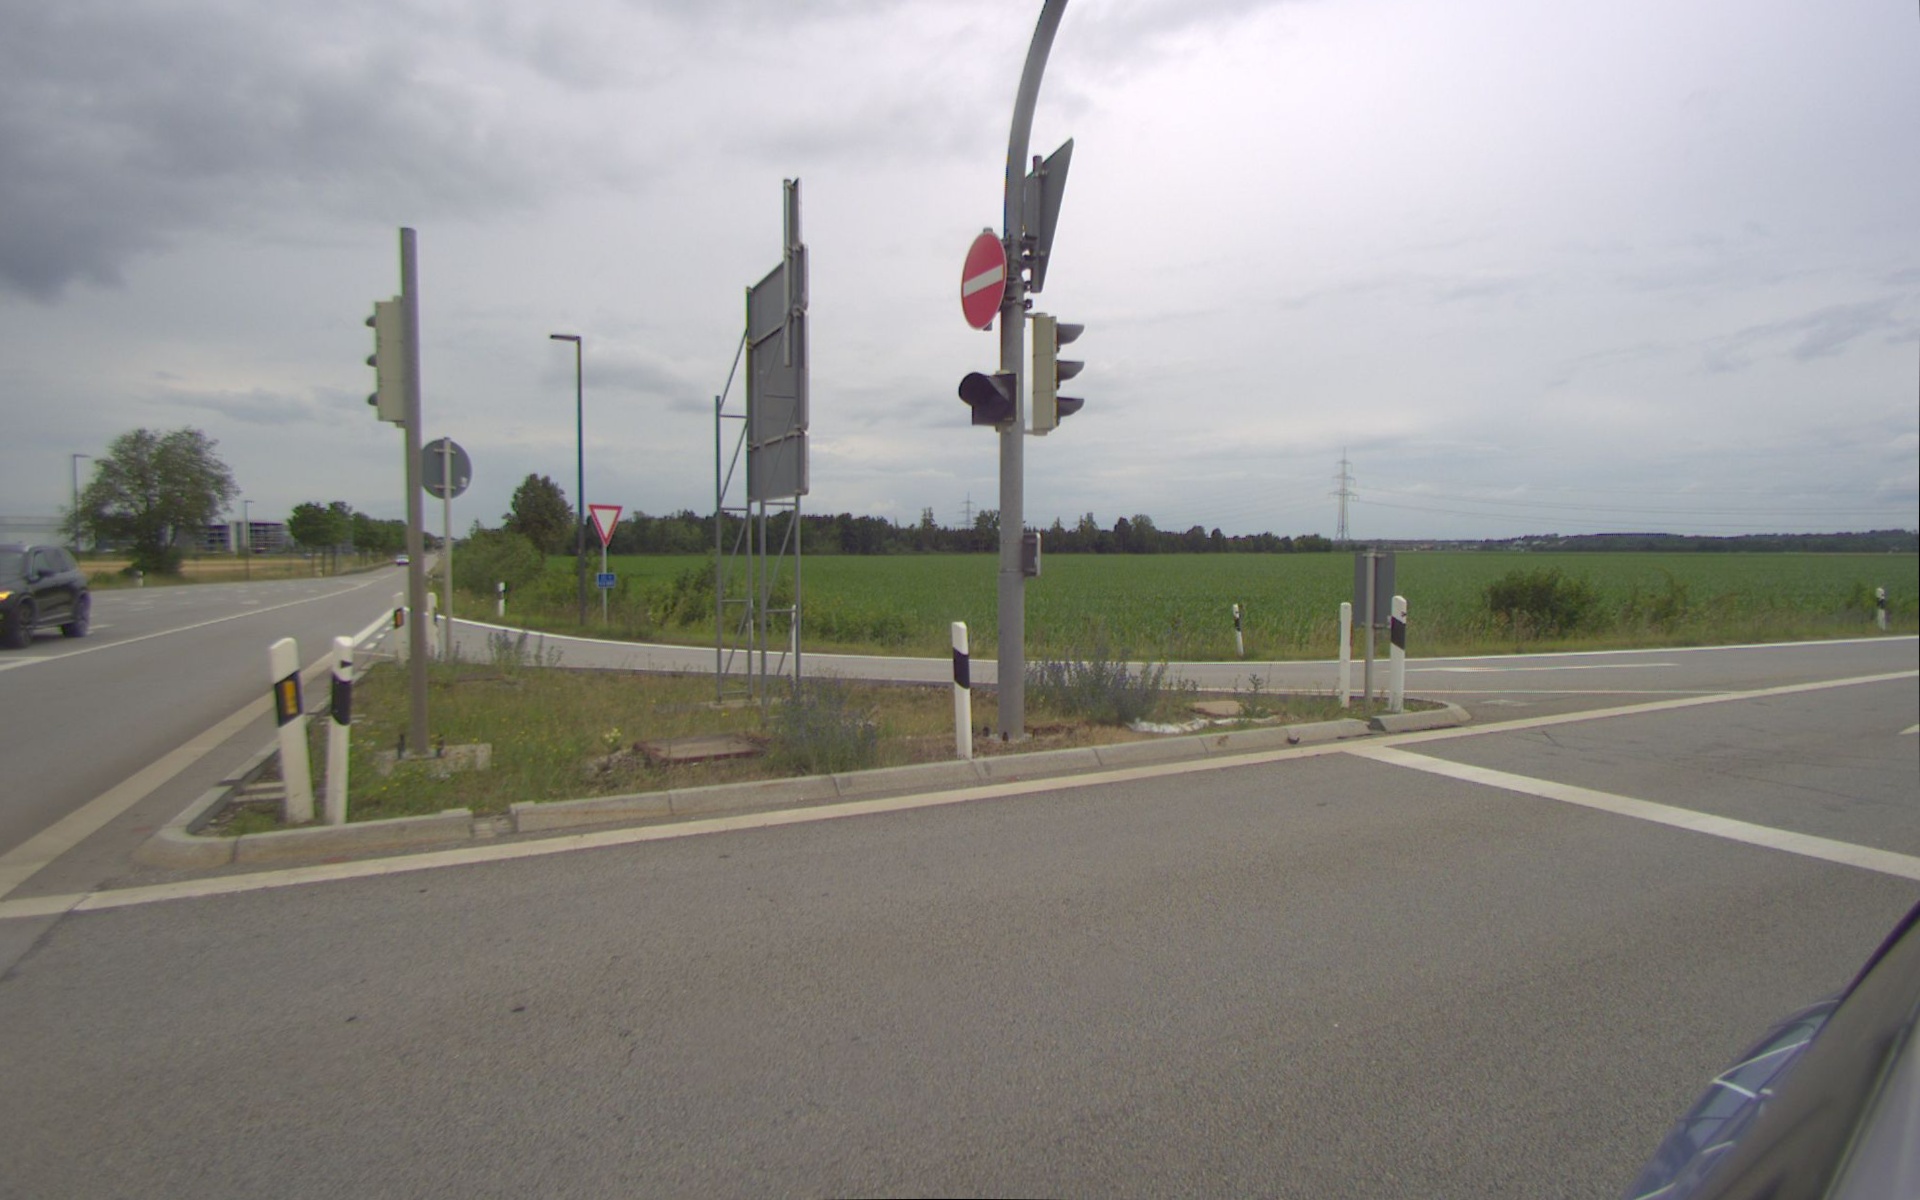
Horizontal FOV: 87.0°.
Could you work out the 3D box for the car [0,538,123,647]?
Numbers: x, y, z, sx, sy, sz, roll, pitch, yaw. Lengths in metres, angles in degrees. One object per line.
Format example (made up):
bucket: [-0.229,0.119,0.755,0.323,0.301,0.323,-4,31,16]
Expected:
car: [-16.709,-0.187,17.498,1.958,1.704,5.010,-1,2,-21]
